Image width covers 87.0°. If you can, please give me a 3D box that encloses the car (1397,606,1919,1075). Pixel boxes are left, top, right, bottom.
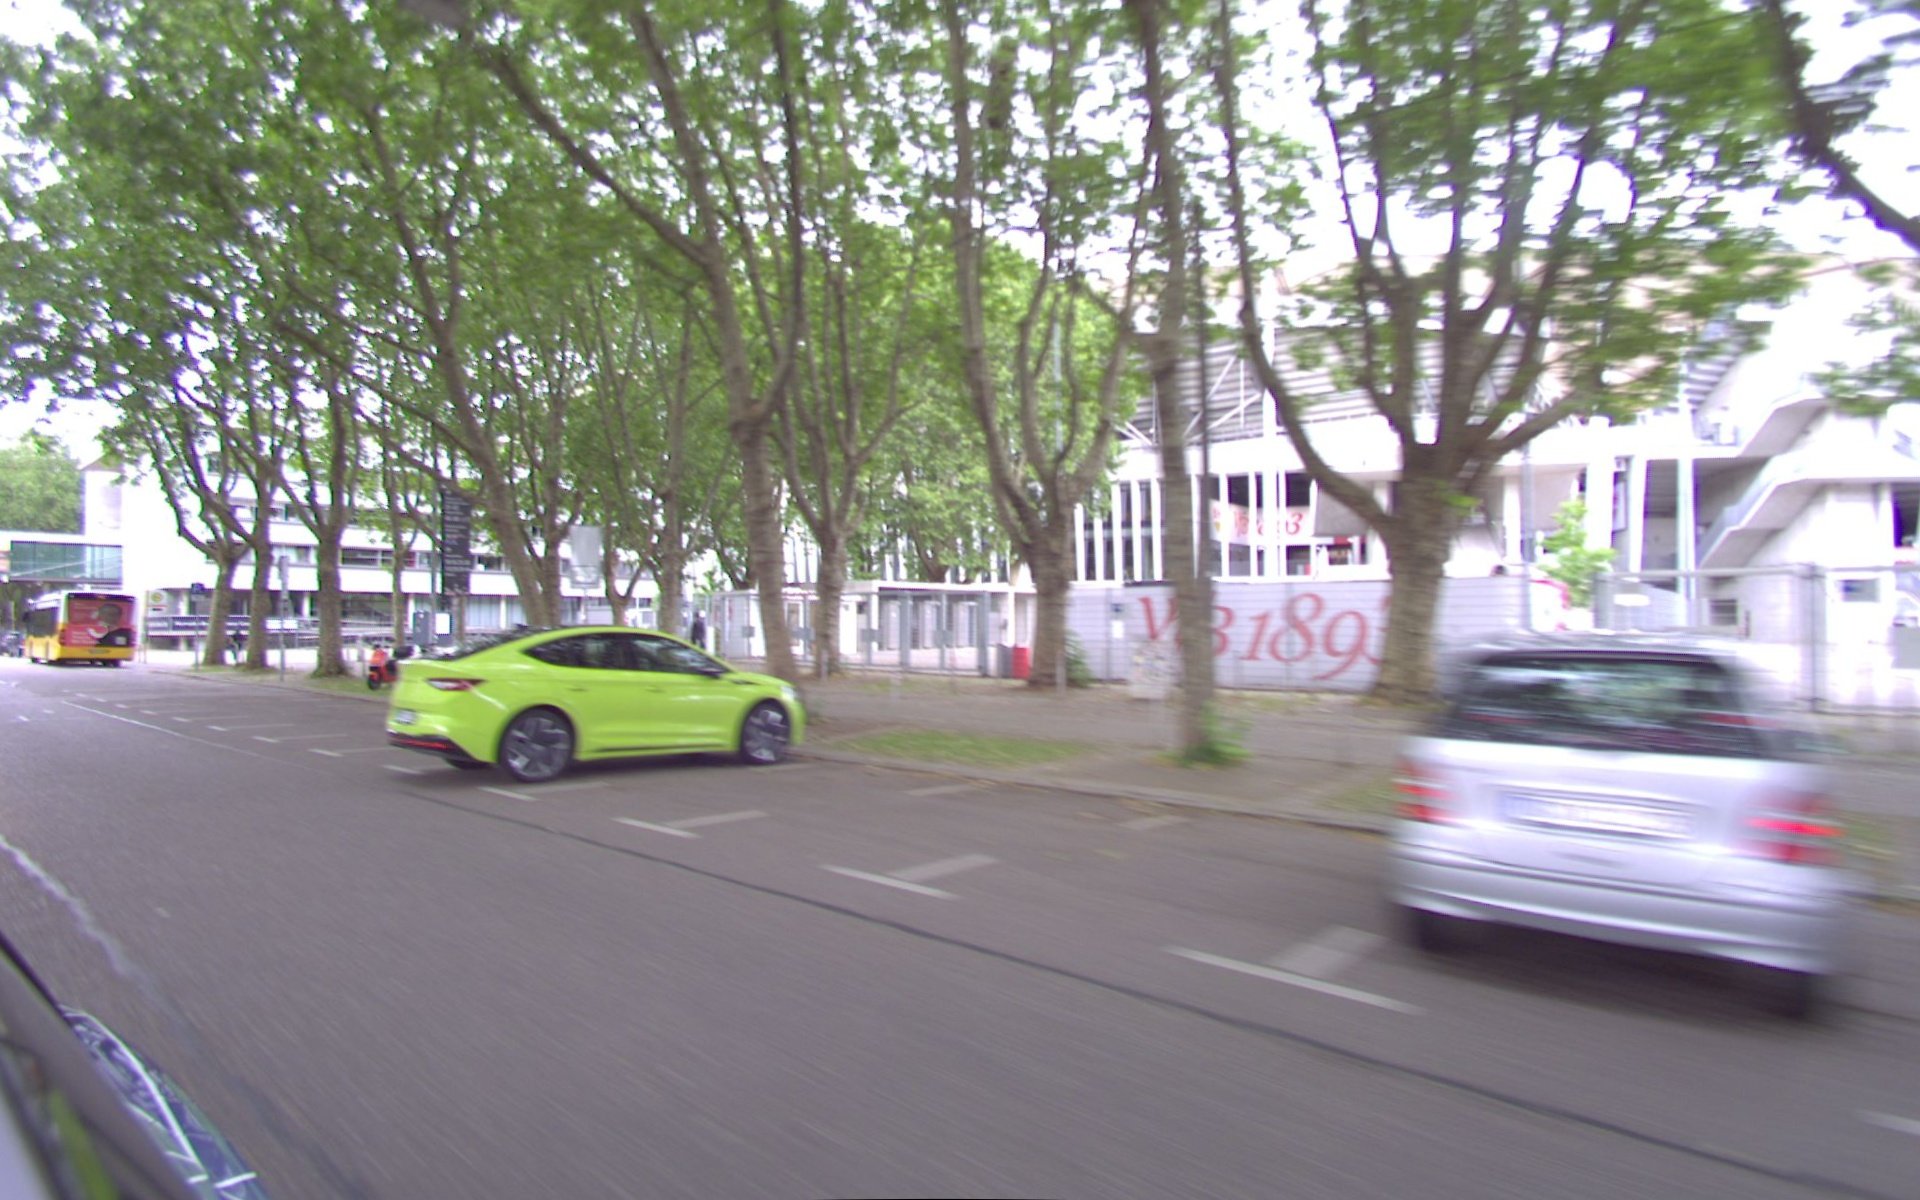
[{"bbox_3d":[3.825,0.941,5.567,1.754,1.581,4.067,-1,-4,36],"label":"car"}]

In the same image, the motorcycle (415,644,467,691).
[{"bbox_3d":[-13.836,1.769,26.970,2.077,1.167,0.567,-2,-1,43],"label":"motorcycle"}]

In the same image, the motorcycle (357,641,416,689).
[{"bbox_3d":[-15.108,1.687,26.717,0.566,1.167,2.080,-1,-1,-6],"label":"motorcycle"}]

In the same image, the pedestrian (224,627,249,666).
[{"bbox_3d":[-30.048,1.928,42.006,0.912,1.601,0.655,-2,-1,41],"label":"pedestrian"}]

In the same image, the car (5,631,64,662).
[{"bbox_3d":[-52.263,2.607,57.126,4.383,1.578,1.736,-1,-6,40],"label":"car"}]

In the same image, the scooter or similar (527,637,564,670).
[{"bbox_3d":[-15.288,1.974,37.344,1.169,1.182,0.445,0,-1,-44],"label":"scooter or similar"}]

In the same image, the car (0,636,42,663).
[{"bbox_3d":[-58.608,3.068,62.896,4.007,1.526,1.735,-2,-6,41],"label":"car"}]

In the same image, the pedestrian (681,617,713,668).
[{"bbox_3d":[-9.185,1.468,35.324,0.874,1.767,0.697,-2,-1,41],"label":"pedestrian"}]

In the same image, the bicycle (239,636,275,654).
[{"bbox_3d":[-47.312,3.023,68.093,0.568,1.196,1.894,-1,-1,38],"label":"bicycle"}]

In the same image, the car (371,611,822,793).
[{"bbox_3d":[-3.850,0.982,11.365,1.758,1.630,4.466,-2,-2,43],"label":"car"}]

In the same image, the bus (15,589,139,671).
[{"bbox_3d":[-39.502,1.364,45.058,12.367,3.179,2.622,-2,-5,43],"label":"bus"}]
